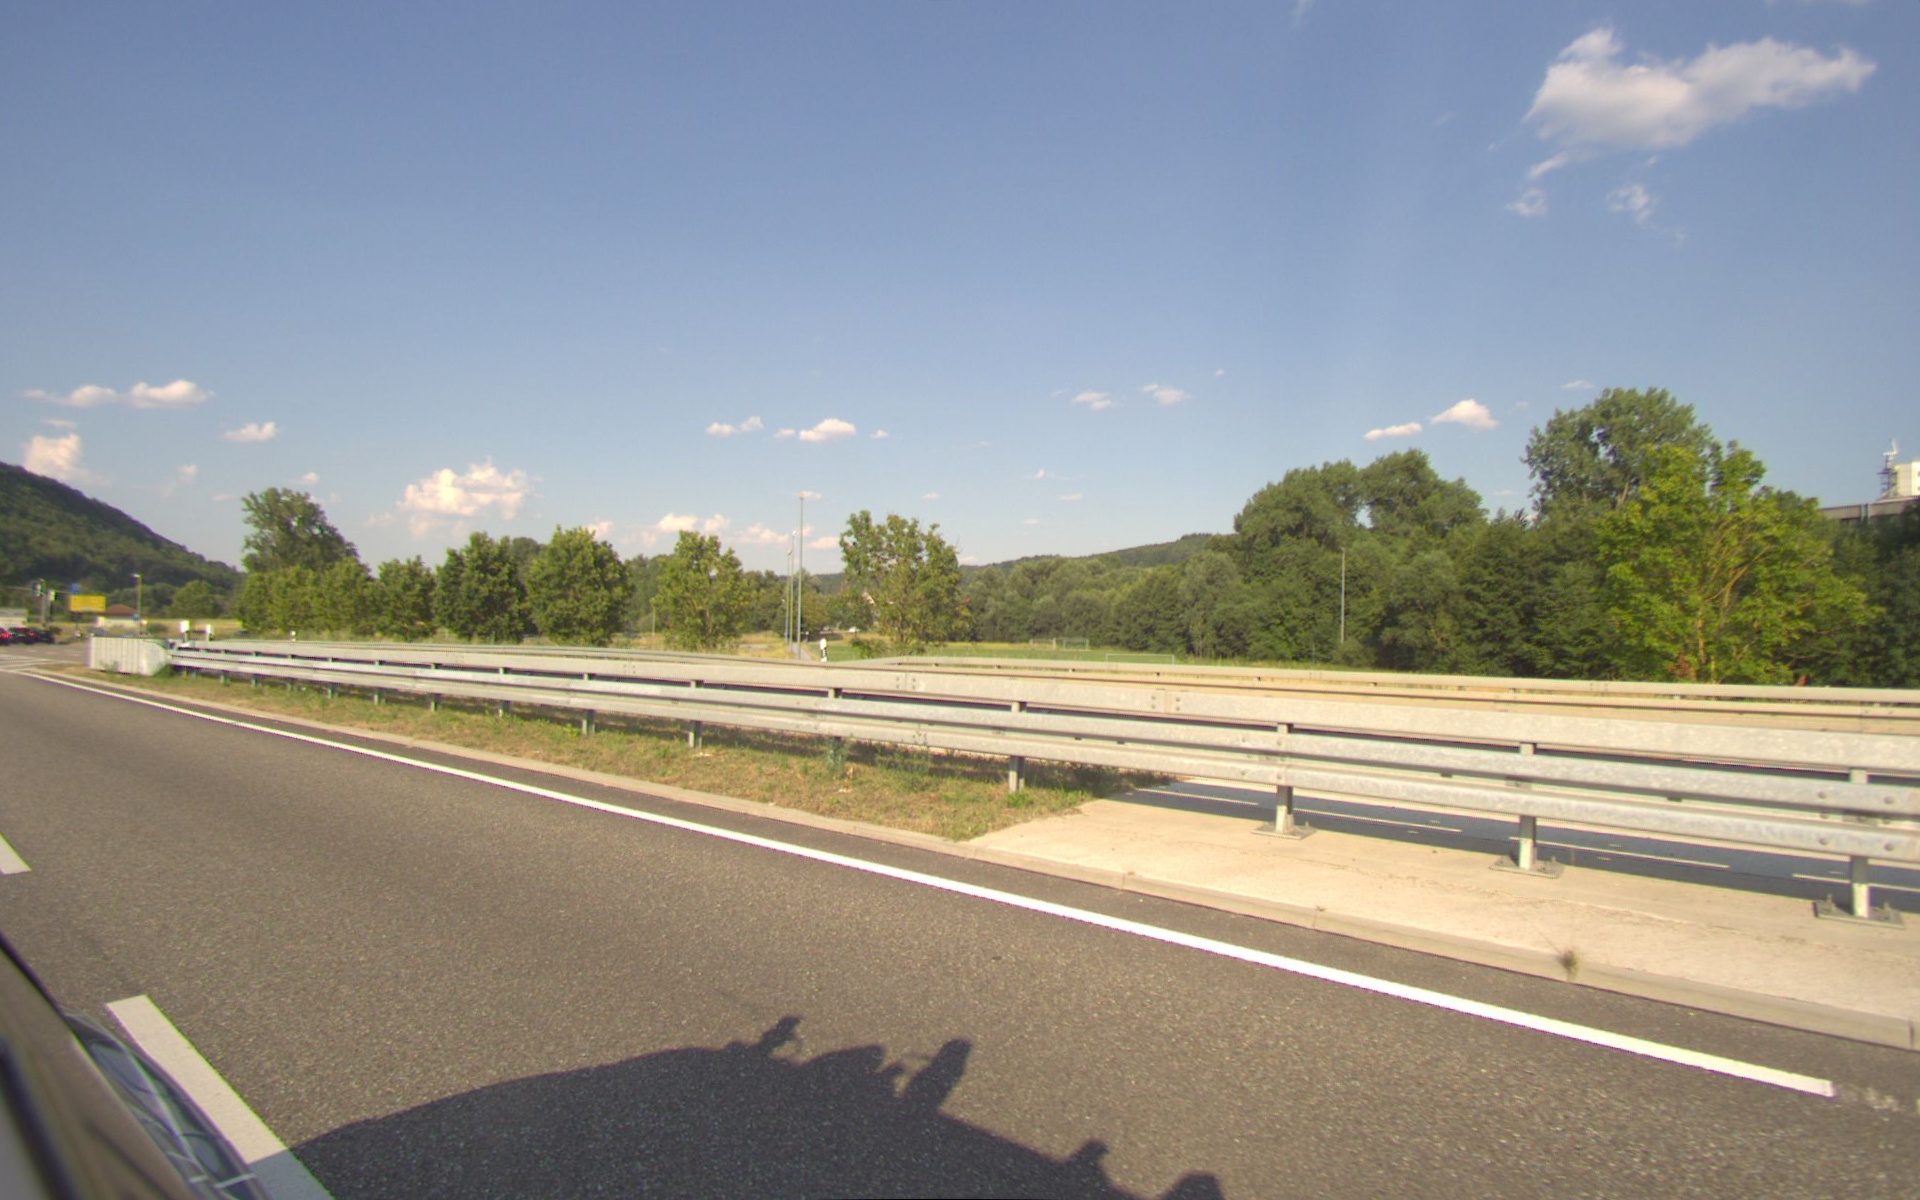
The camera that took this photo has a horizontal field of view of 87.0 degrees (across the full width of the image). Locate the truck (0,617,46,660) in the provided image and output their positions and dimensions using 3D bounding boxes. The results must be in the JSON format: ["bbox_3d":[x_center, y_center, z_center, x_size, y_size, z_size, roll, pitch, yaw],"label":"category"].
[{"bbox_3d":[-87.110,3.494,93.281,10.495,3.718,2.902,0,-4,42],"label":"truck"}]
